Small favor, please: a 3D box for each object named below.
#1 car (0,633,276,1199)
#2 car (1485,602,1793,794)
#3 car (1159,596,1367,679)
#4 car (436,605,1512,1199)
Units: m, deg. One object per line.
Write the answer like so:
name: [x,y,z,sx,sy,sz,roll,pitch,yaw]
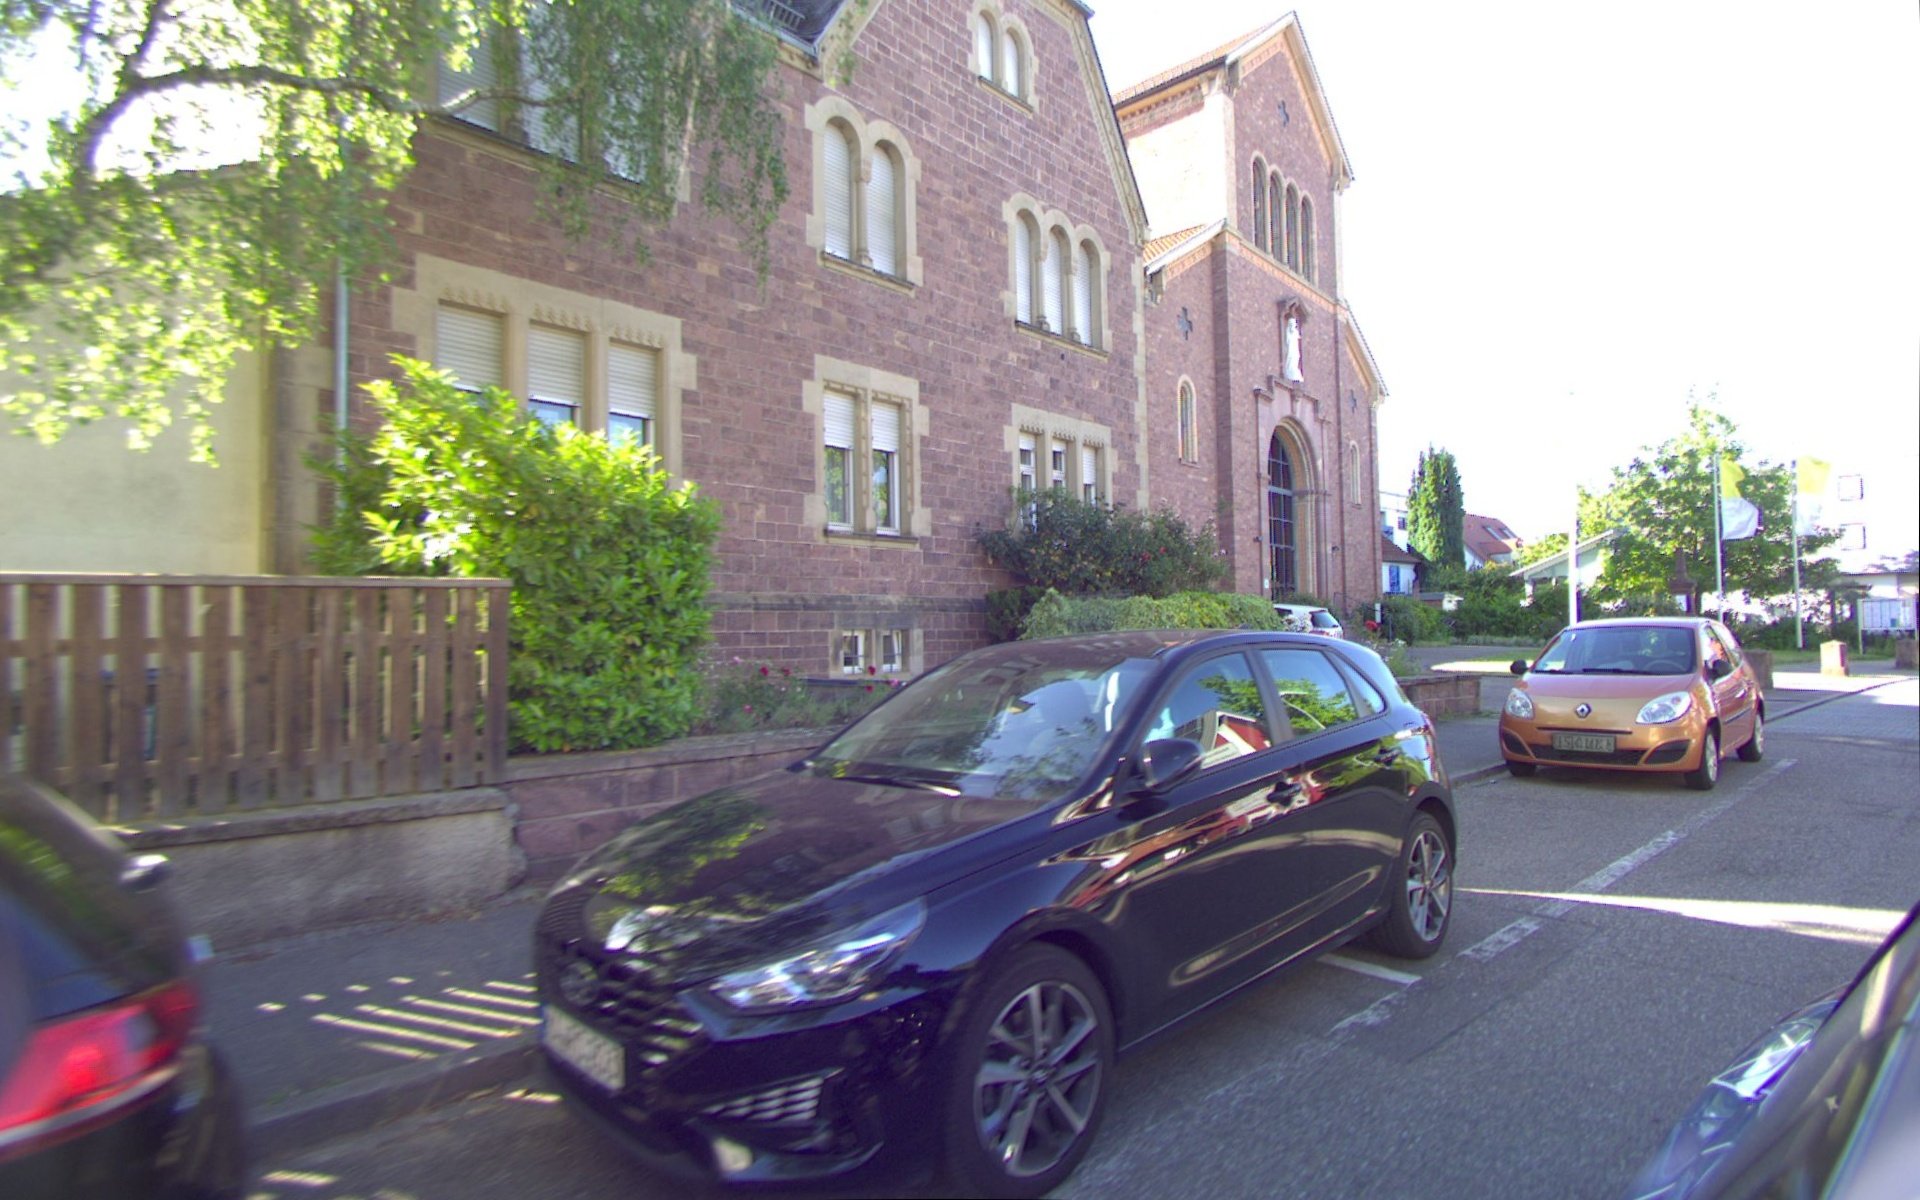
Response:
car: [-3.103,0.795,0.704,4.209,1.455,1.810,1,-3,-40]
car: [6.741,0.824,9.894,3.867,1.498,1.649,1,-3,-44]
car: [6.476,0.719,21.839,3.895,1.515,1.876,2,2,42]
car: [0.462,0.799,4.029,4.213,1.455,1.808,1,-3,-44]
